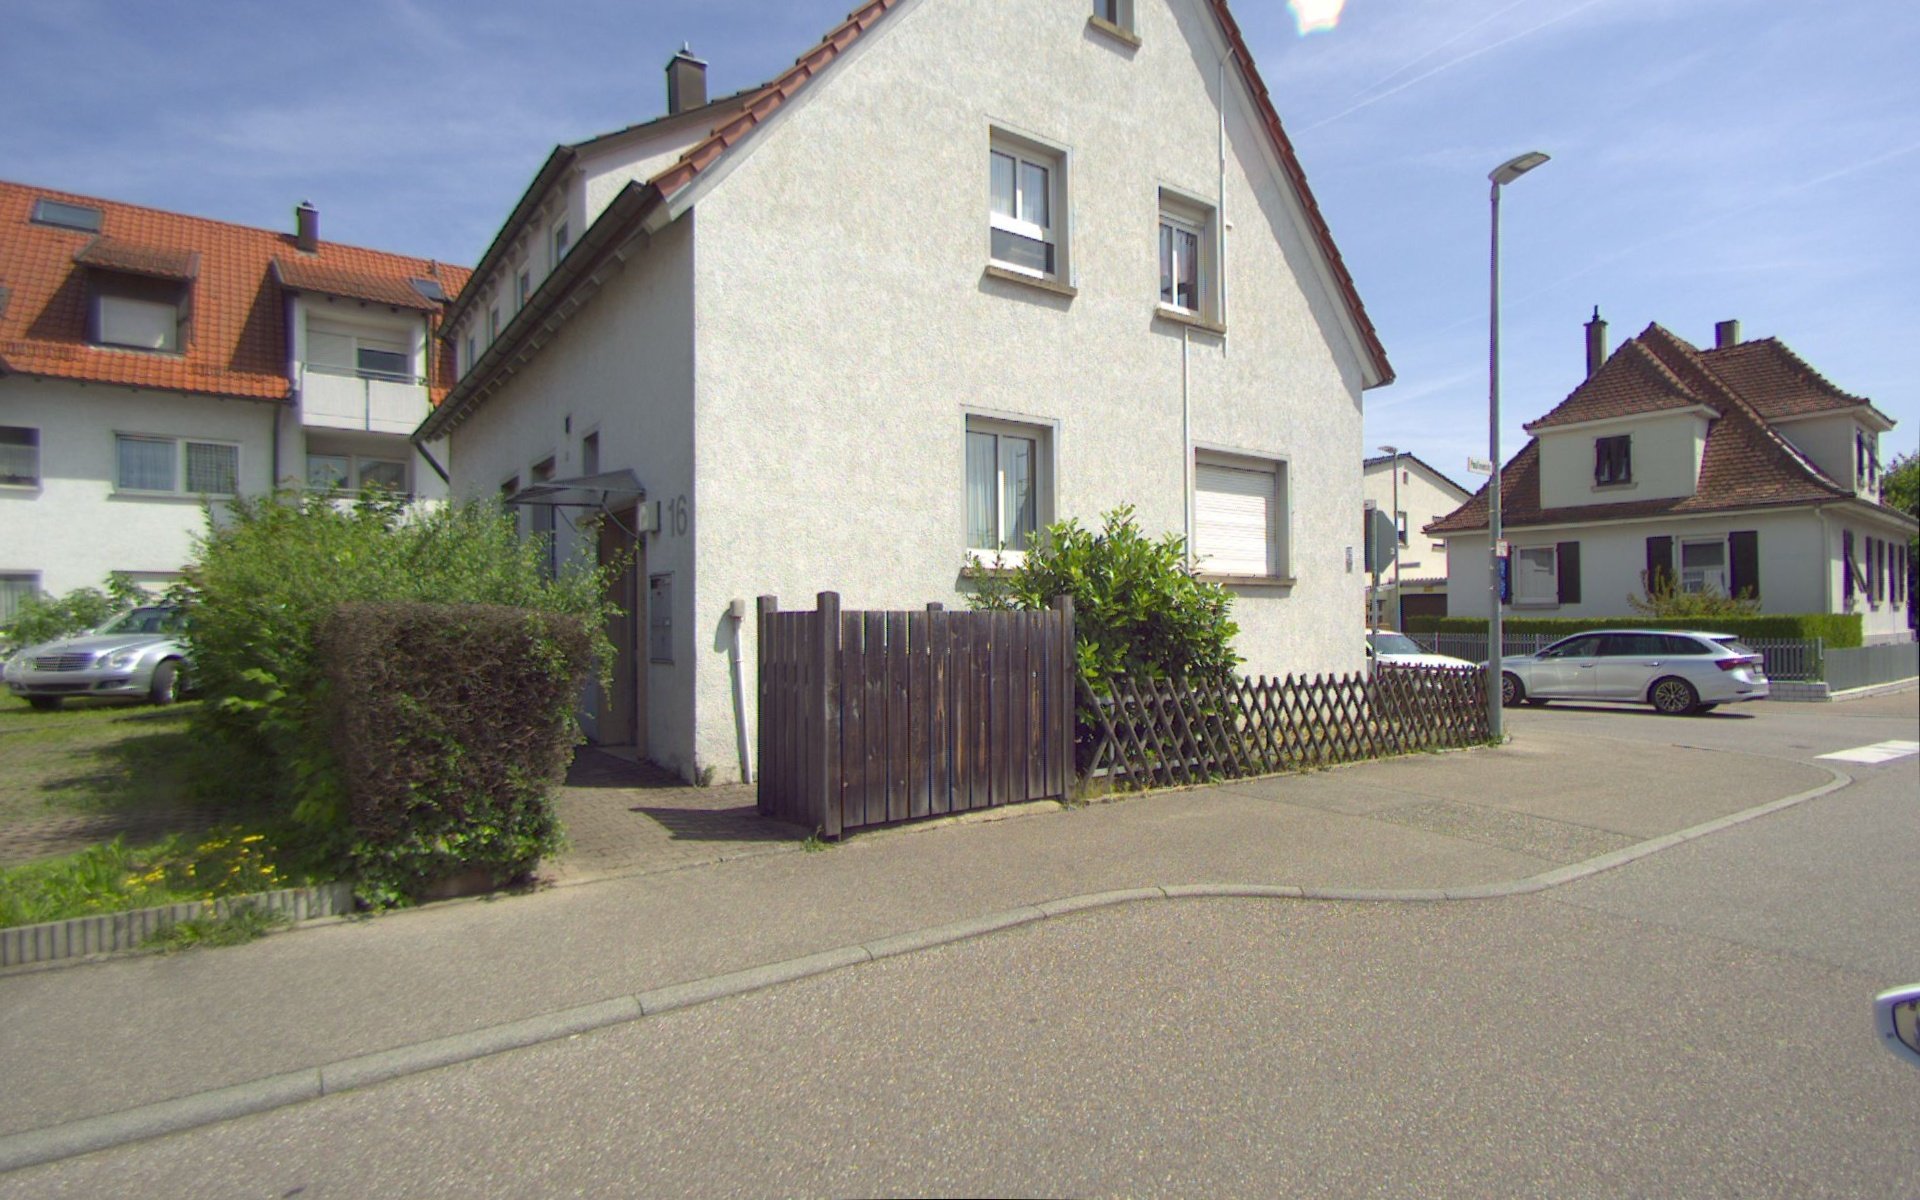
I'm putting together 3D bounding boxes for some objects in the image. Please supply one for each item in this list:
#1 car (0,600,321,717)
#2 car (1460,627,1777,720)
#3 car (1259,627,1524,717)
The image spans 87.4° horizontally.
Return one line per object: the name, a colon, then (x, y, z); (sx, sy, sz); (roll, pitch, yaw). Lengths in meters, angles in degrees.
car: (-11.811, 0.804, 15.109); (1.839, 1.491, 4.274); (-1, -1, -3)
car: (11.775, 1.232, 18.230); (1.746, 1.457, 4.532); (2, -2, -42)
car: (7.782, 1.233, 18.625); (1.902, 1.416, 4.470); (1, -1, -23)
